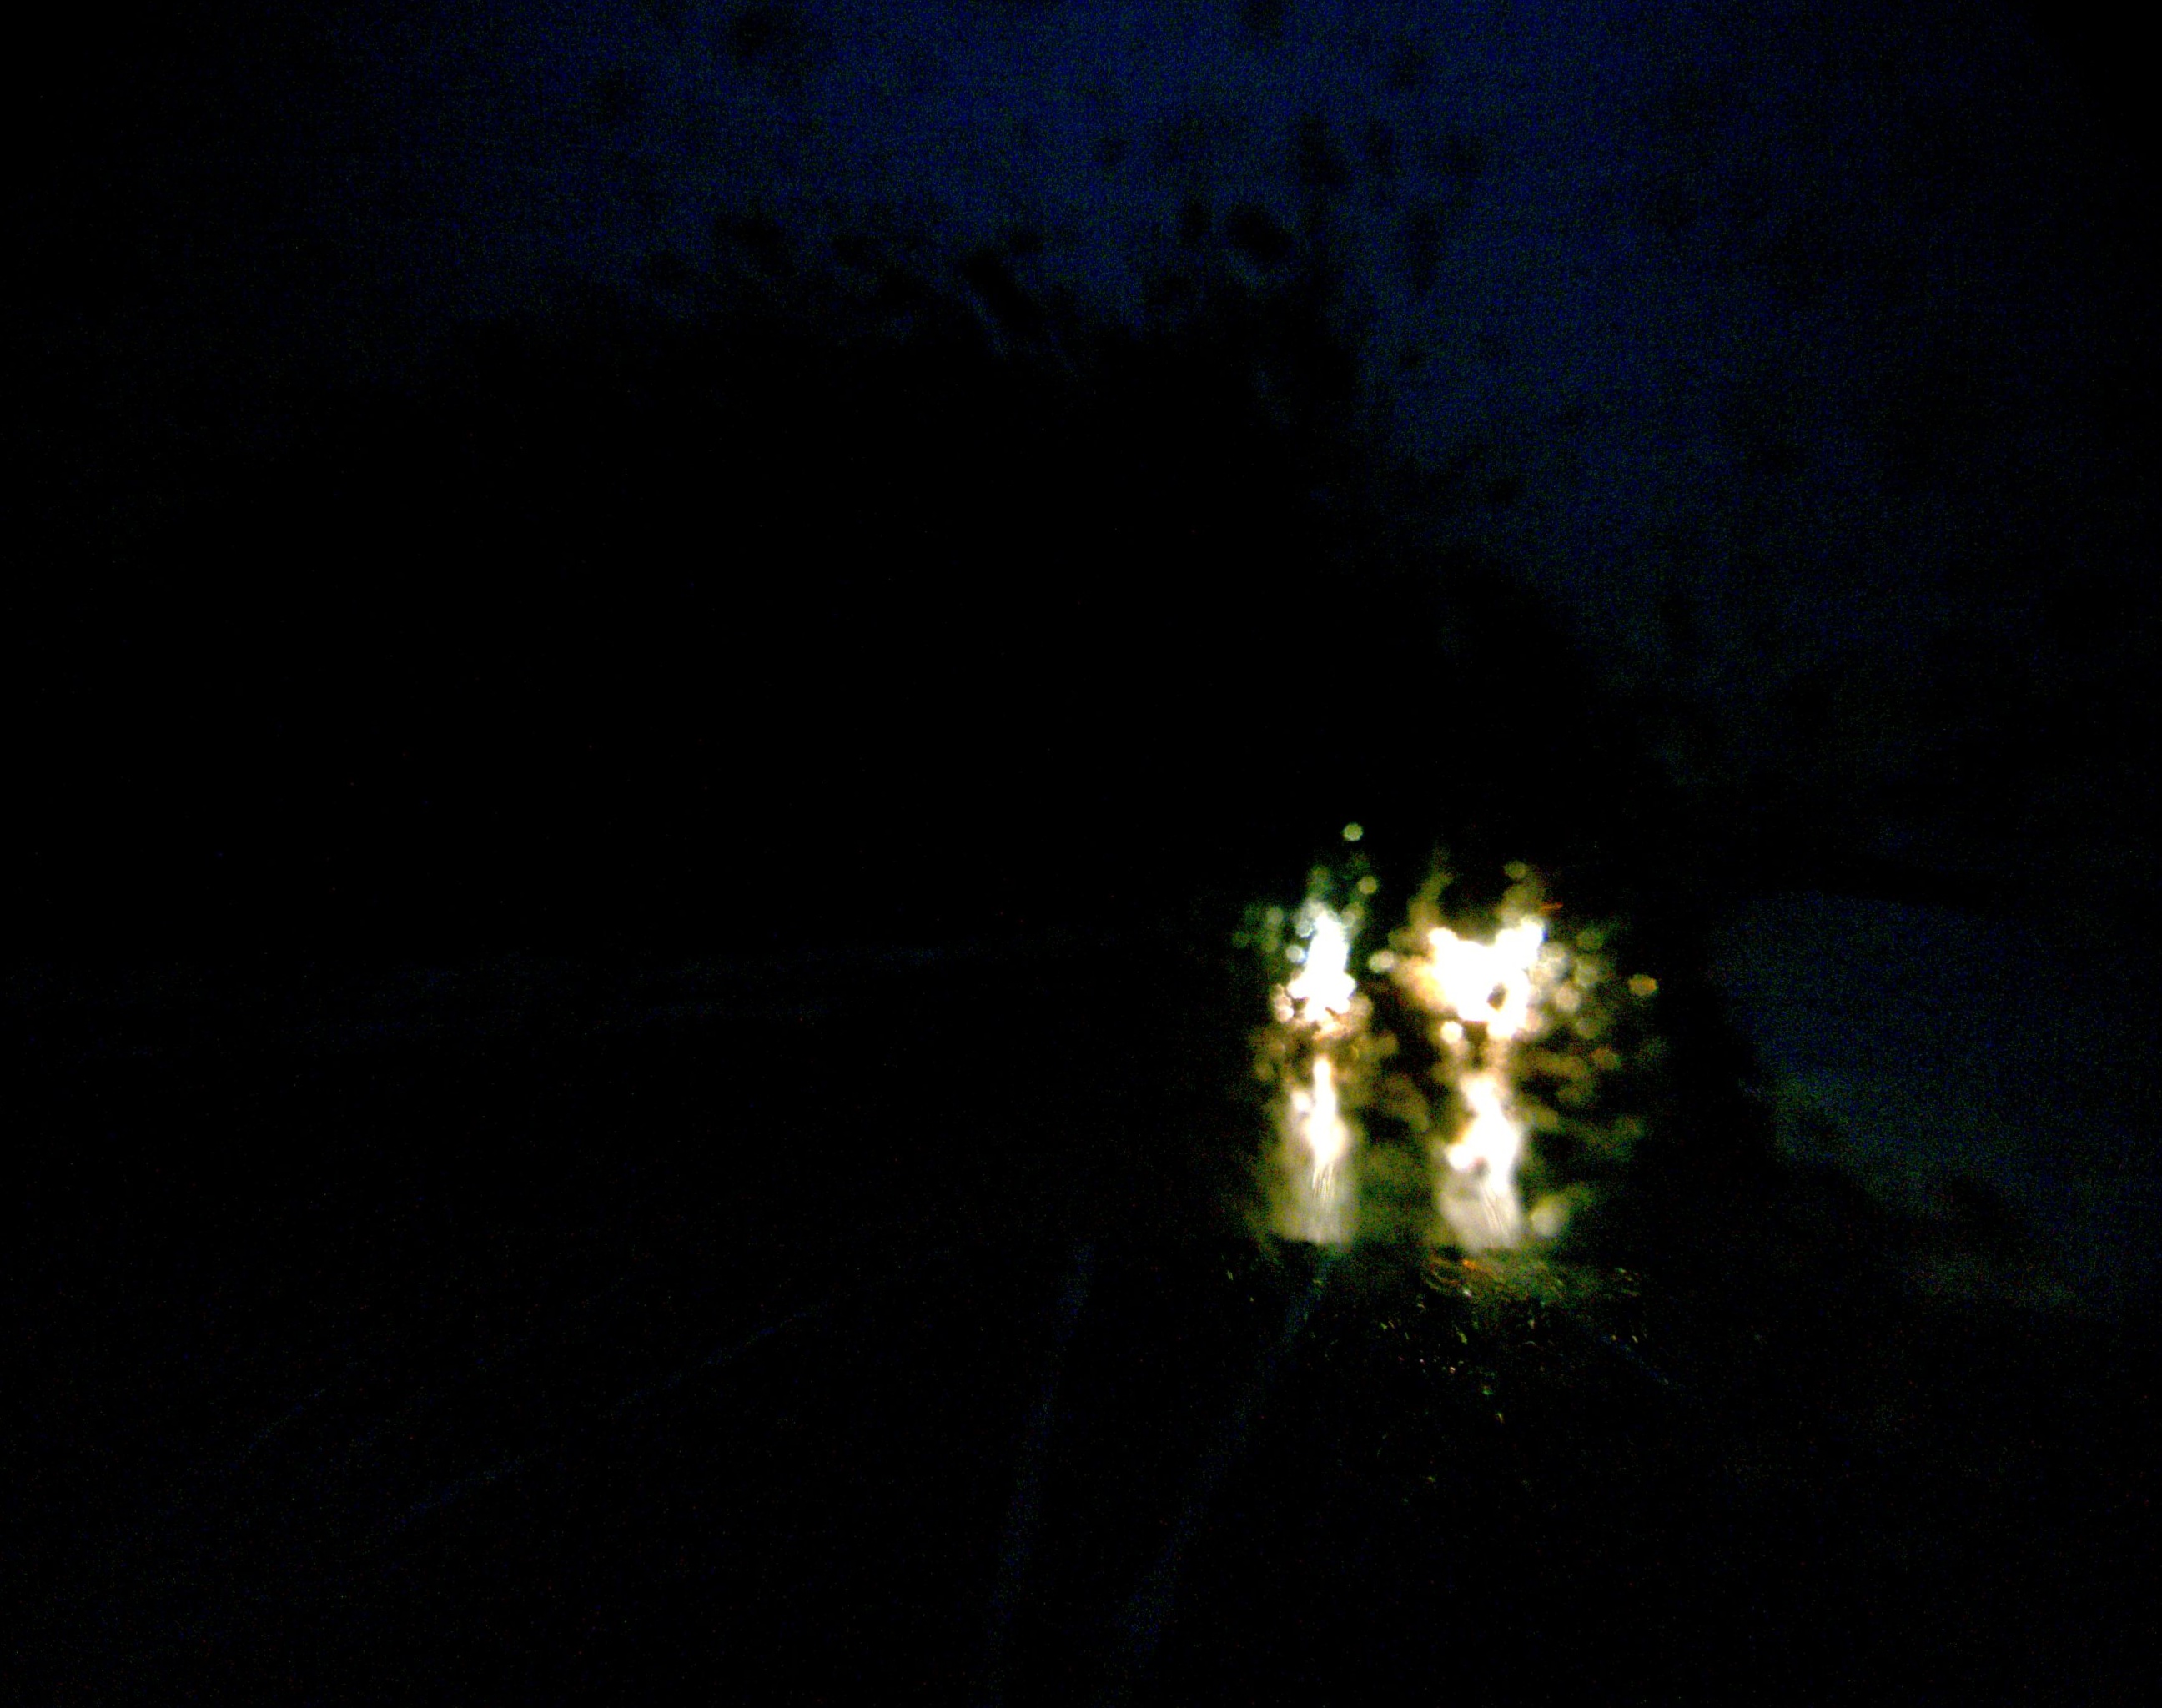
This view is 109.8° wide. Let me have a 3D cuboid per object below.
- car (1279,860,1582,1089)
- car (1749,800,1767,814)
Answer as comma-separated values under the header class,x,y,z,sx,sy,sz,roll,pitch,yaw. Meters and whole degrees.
class,x,y,z,sx,sy,sz,roll,pitch,yaw
car,3.454,0.845,7.103,1.721,1.426,3.684,-1,1,38
car,99.697,-6.905,111.886,1.994,1.797,4.007,-1,2,42
